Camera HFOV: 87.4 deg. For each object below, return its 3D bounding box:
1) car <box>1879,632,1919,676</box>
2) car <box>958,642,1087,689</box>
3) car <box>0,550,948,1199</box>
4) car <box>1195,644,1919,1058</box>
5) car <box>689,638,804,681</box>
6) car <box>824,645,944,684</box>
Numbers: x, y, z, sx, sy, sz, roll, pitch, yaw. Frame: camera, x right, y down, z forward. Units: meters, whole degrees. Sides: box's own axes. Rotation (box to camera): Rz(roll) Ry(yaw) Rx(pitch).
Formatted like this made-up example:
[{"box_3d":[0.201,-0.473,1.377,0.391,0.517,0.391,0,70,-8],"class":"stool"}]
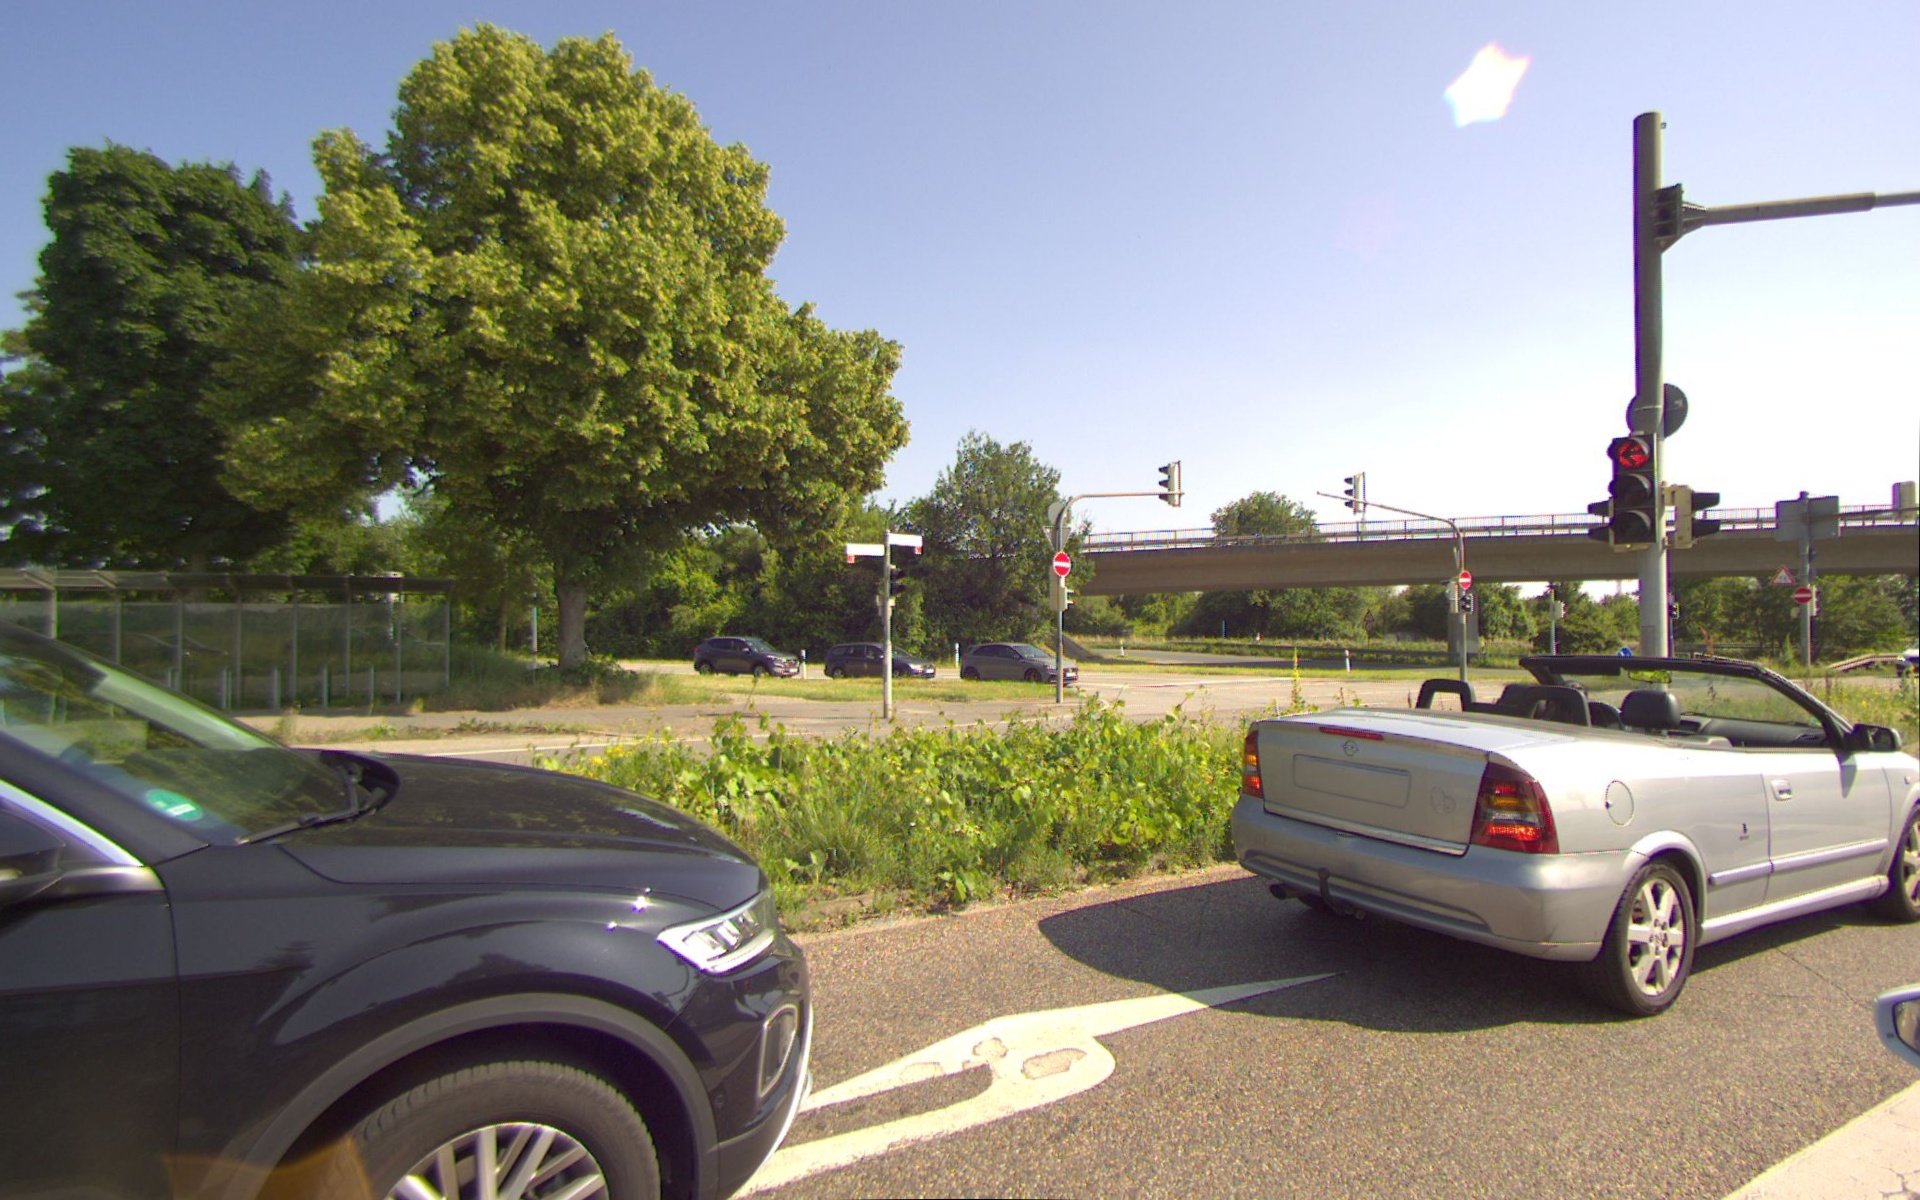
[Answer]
[{"box_3d":[35.364,1.933,36.432,4.101,1.534,1.874,1,-5,-31],"class":"car"},{"box_3d":[2.052,2.157,33.705,4.066,1.443,1.862,-2,-3,41],"class":"car"},{"box_3d":[-2.198,0.715,1.993,4.049,1.568,1.721,1,-1,-30],"class":"car"},{"box_3d":[3.289,0.915,5.115,4.049,1.352,1.666,1,-2,-30],"class":"car"},{"box_3d":[-8.367,2.292,39.369,4.272,1.616,1.650,-1,-2,25],"class":"car"},{"box_3d":[-2.817,2.333,36.876,4.279,1.297,1.647,-1,-2,32],"class":"car"}]
